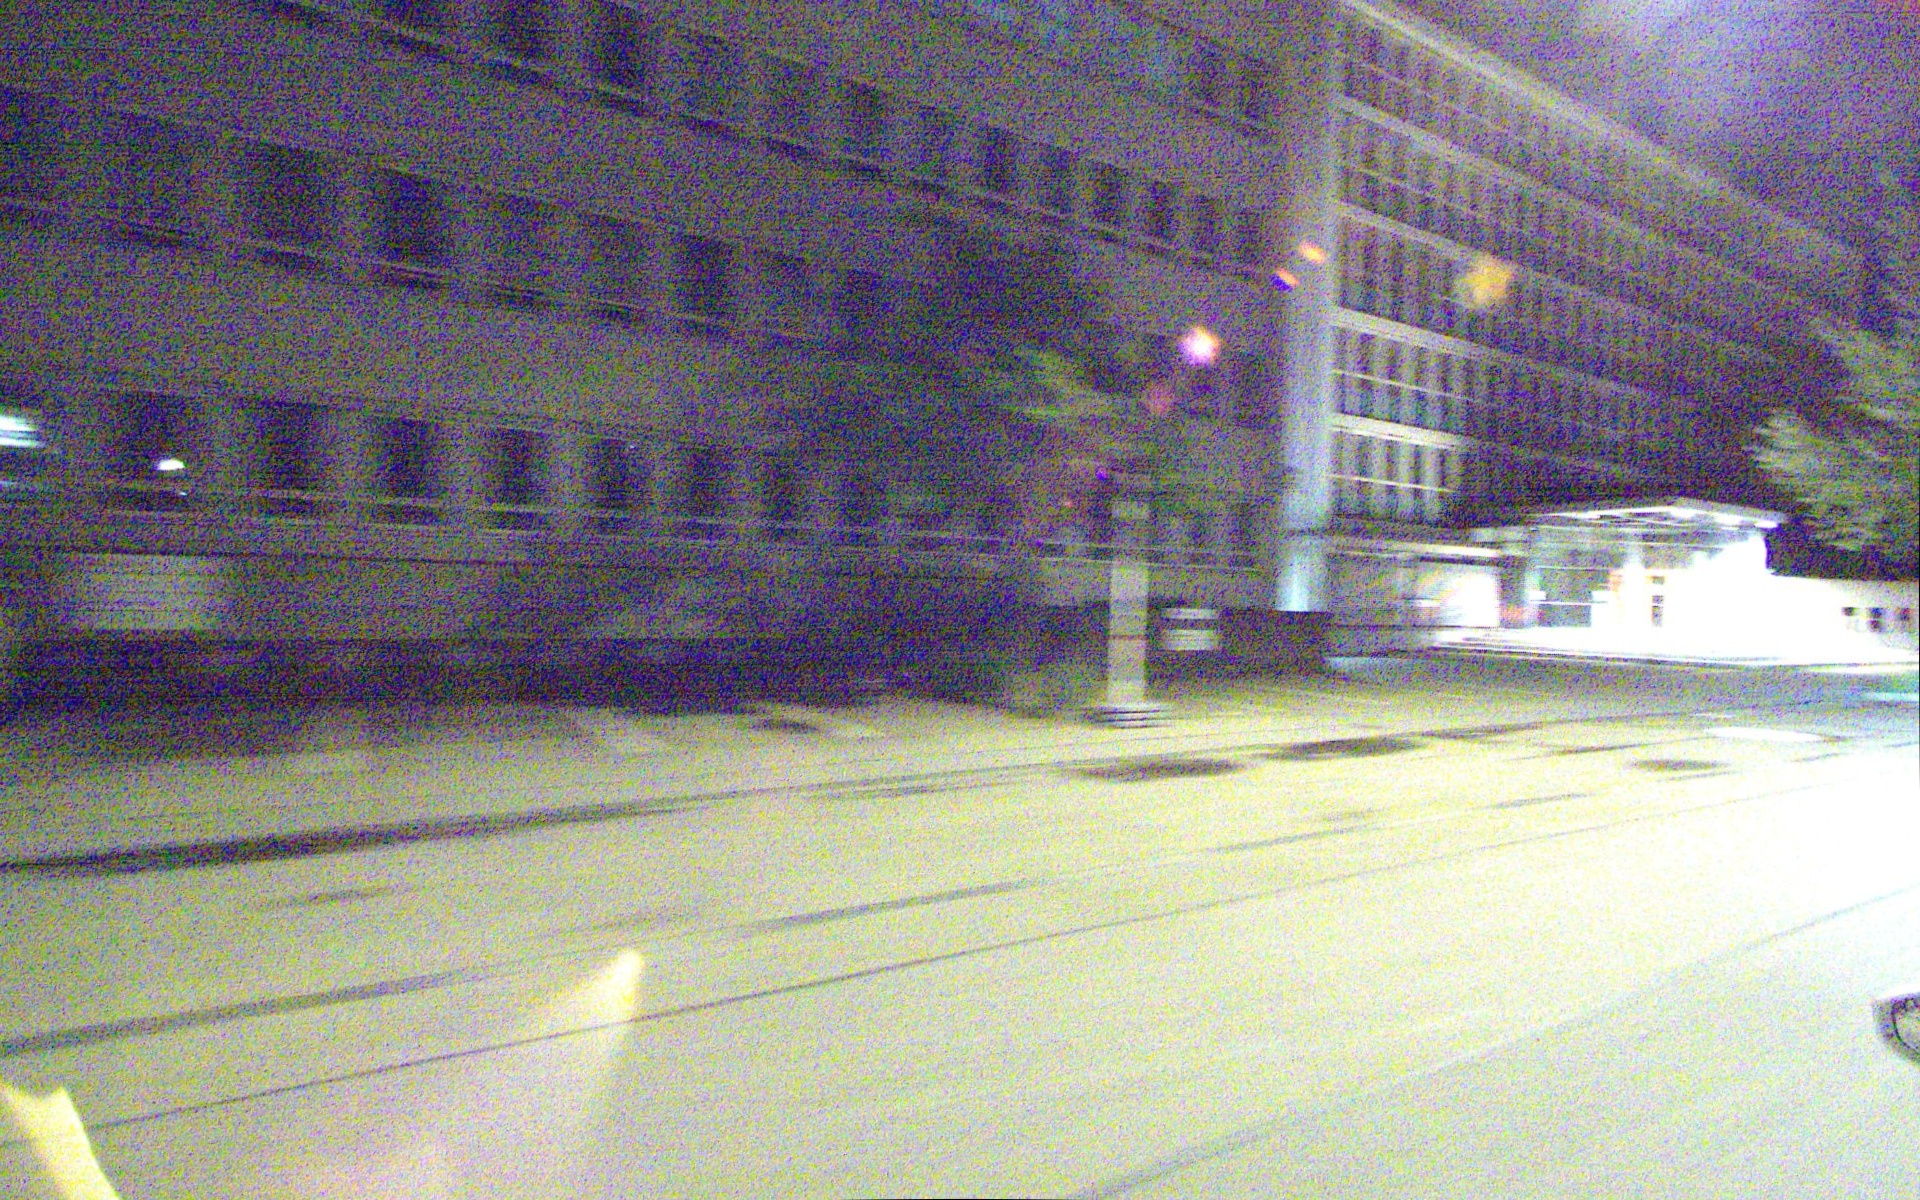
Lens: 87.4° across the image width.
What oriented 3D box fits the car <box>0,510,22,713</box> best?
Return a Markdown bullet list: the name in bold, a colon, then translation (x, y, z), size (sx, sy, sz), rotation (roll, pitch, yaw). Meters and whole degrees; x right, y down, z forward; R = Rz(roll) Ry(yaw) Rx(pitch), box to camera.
- **car**: translation (-9.456, 0.163, 8.028), size (1.978, 1.998, 4.408), rotation (1, 2, -31)
